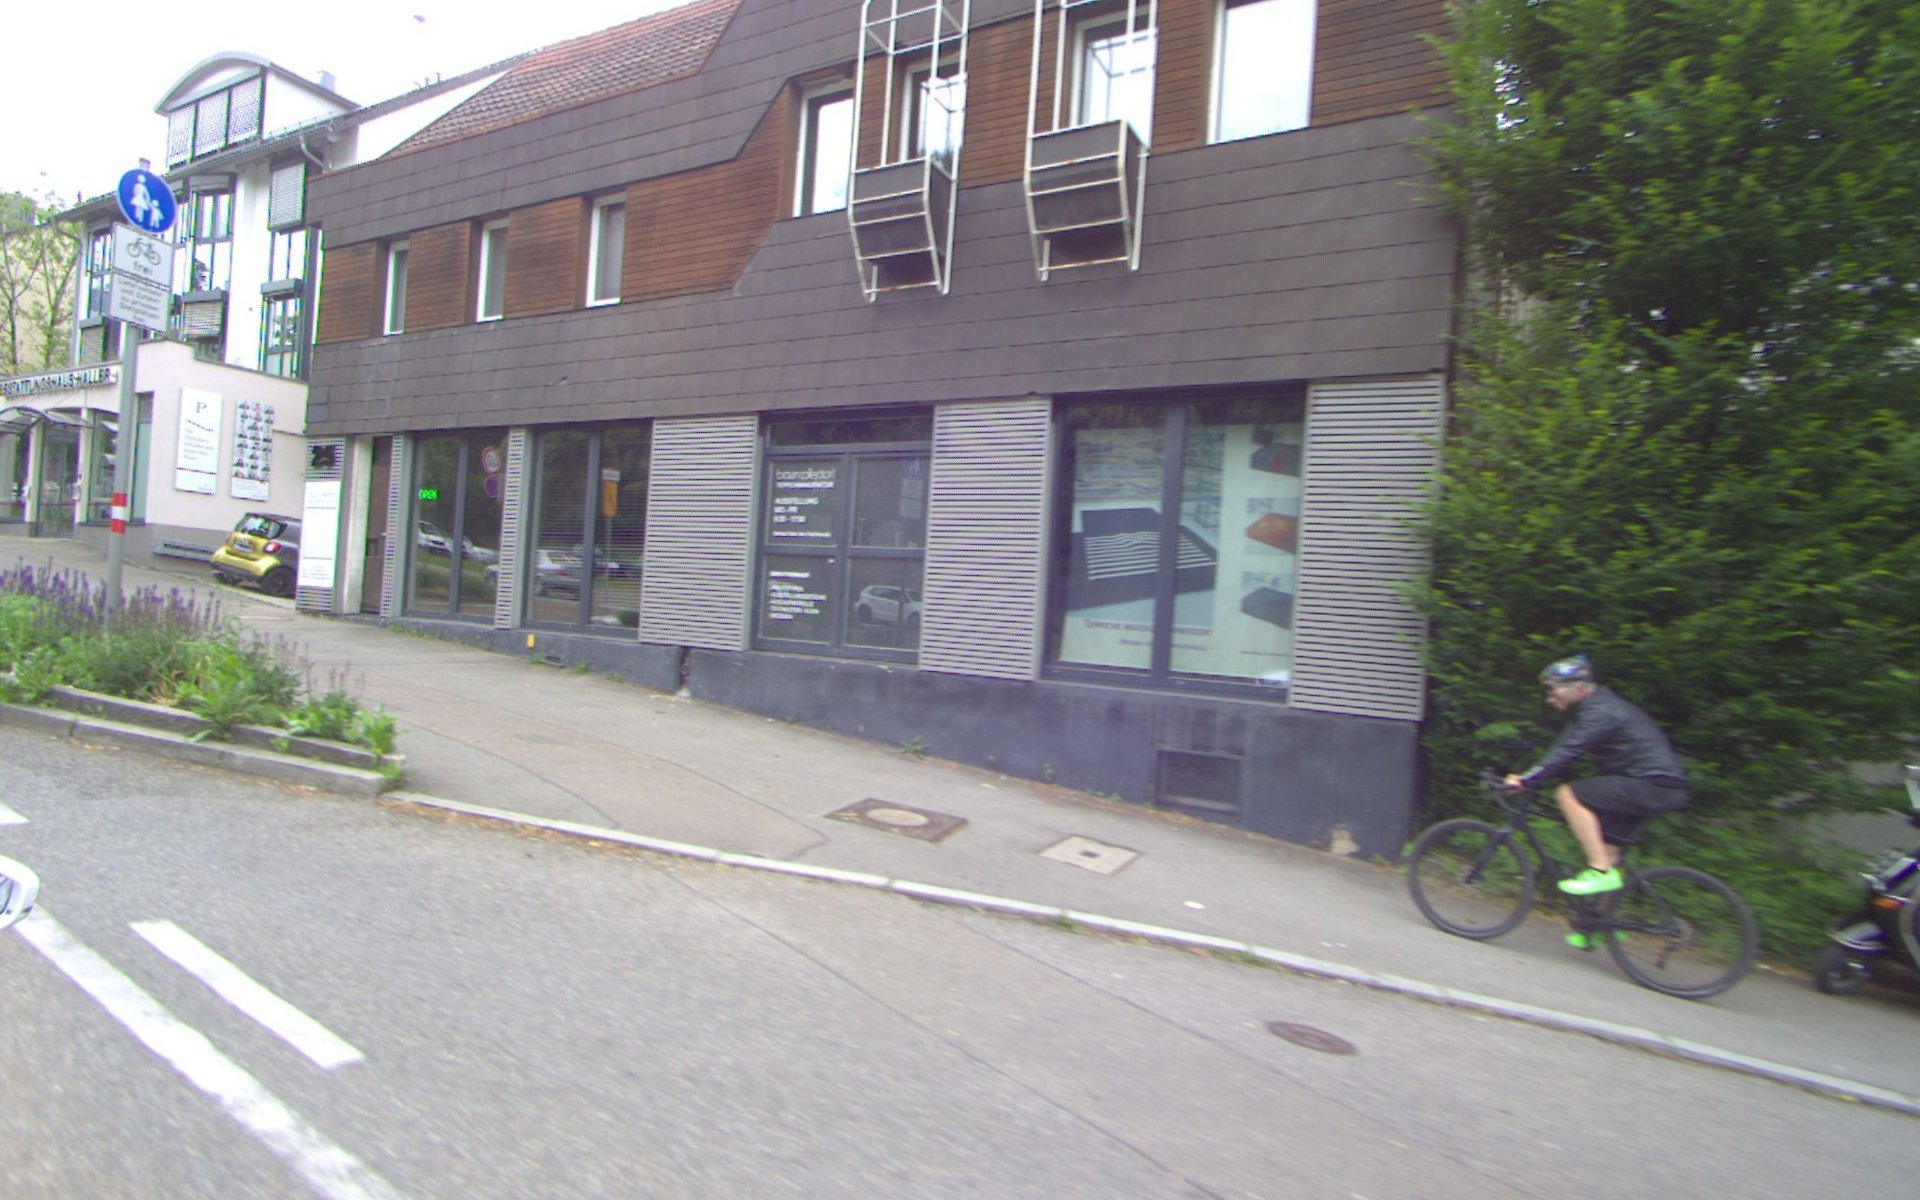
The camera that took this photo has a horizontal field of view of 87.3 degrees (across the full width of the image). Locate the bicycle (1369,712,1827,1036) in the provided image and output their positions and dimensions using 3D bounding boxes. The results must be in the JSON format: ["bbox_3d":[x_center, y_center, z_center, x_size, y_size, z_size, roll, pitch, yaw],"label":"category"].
[{"bbox_3d":[3.557,1.470,5.825,2.004,1.278,0.572,8,2,30],"label":"bicycle"}]

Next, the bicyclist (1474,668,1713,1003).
[{"bbox_3d":[3.611,1.288,5.806,0.931,1.653,0.538,8,1,30],"label":"bicyclist"}]

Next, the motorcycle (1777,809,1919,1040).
[{"bbox_3d":[5.819,1.921,5.481,1.934,1.064,0.696,8,2,32],"label":"motorcycle"}]

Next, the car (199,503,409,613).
[{"bbox_3d":[-13.295,-0.803,20.549,1.636,1.478,3.006,9,-5,24],"label":"car"}]
